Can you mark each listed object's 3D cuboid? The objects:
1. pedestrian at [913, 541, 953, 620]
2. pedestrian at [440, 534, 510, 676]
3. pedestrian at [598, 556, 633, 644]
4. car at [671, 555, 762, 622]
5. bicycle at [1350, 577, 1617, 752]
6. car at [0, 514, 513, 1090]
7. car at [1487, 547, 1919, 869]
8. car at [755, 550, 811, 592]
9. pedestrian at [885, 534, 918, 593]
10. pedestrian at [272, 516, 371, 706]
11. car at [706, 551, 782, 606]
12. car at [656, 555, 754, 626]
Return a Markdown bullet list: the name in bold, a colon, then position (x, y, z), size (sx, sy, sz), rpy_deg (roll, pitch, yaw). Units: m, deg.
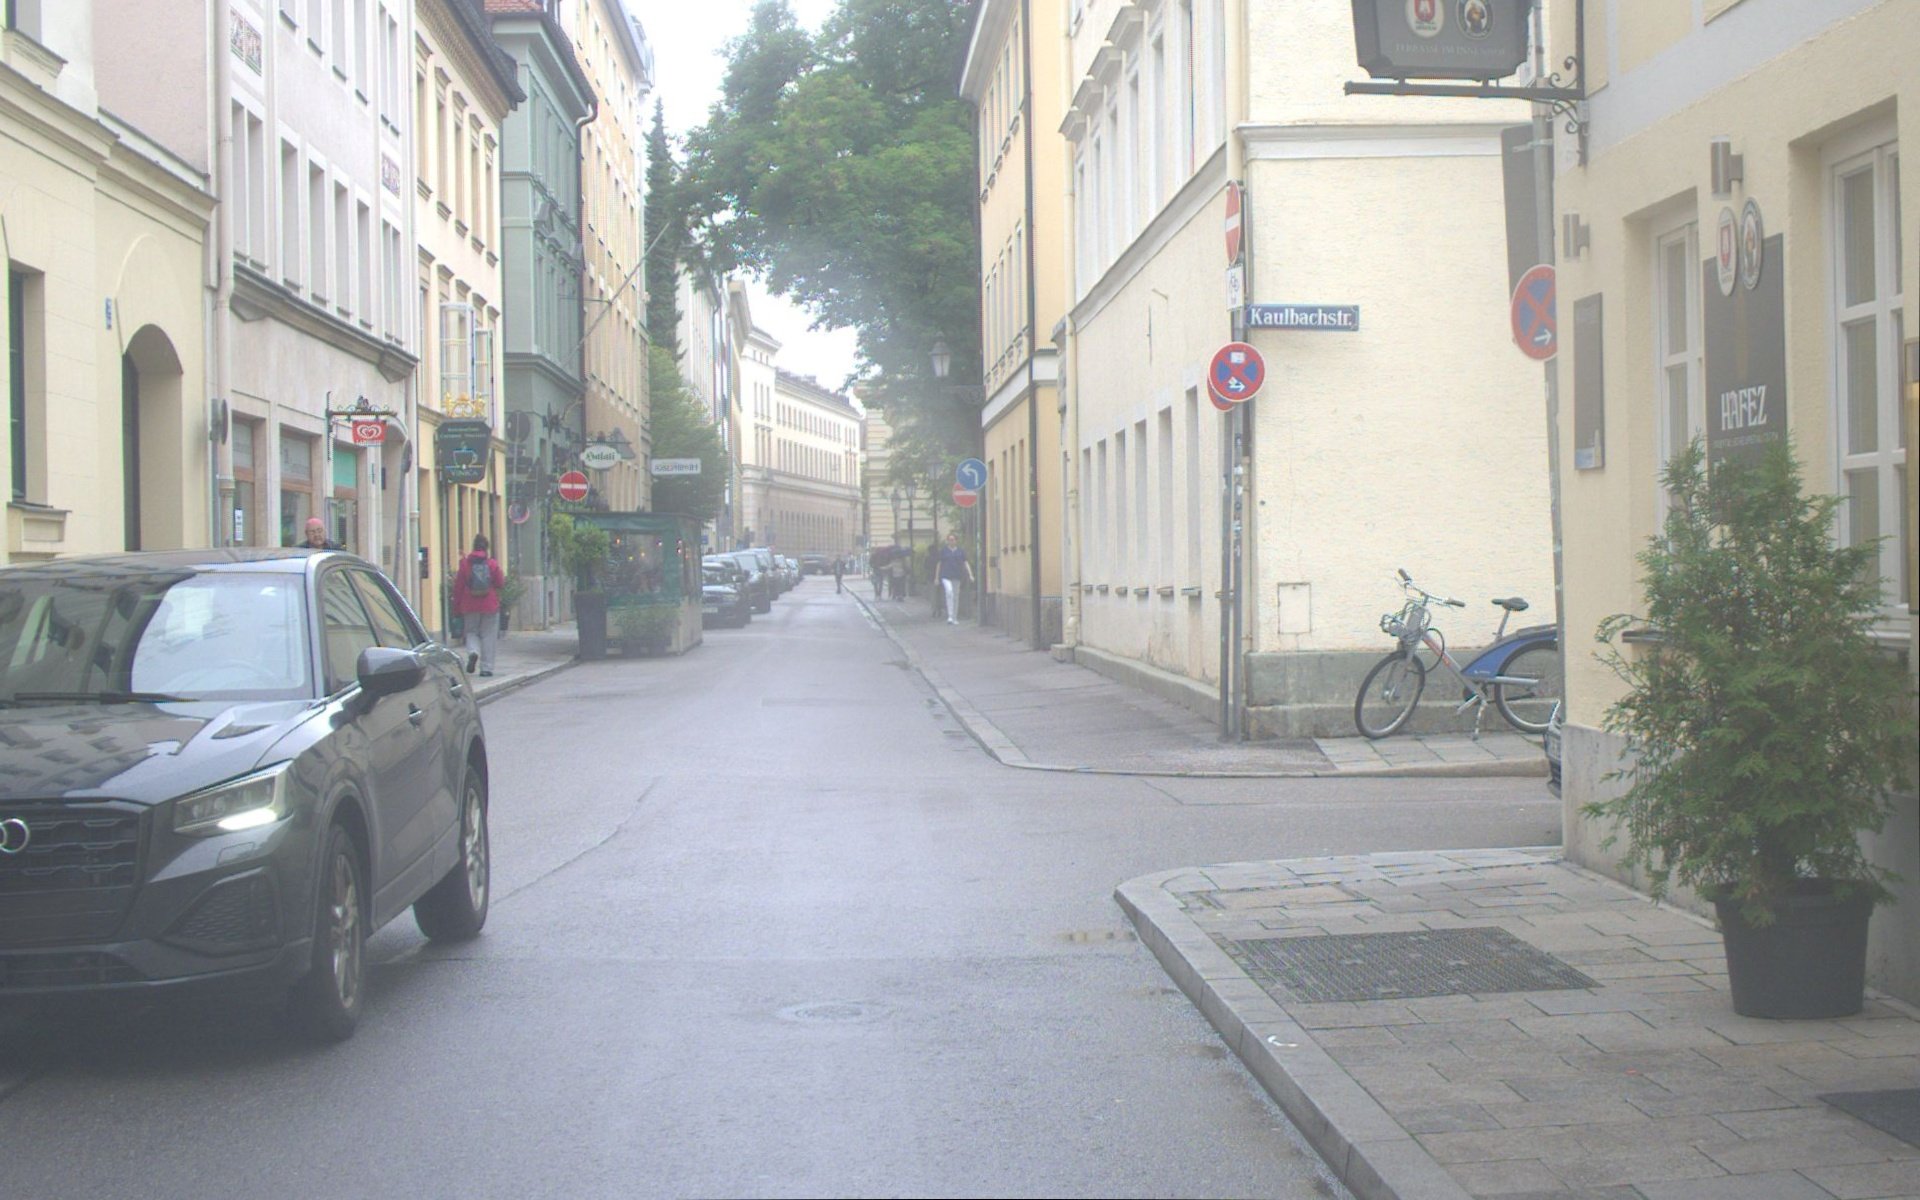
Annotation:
- **pedestrian**: position (-0.626, -0.443, 78.672), size (0.880, 1.796, 1.046), rpy_deg (0, 1, -1)
- **pedestrian**: position (-5.920, 0.055, 42.004), size (0.765, 1.702, 0.785), rpy_deg (-1, 1, -4)
- **pedestrian**: position (-5.224, -0.010, 52.159), size (0.509, 1.322, 0.631), rpy_deg (0, 1, -4)
- **car**: position (-5.522, -0.280, 78.350), size (1.779, 1.461, 3.542), rpy_deg (0, 1, 1)
- **bicycle**: position (3.649, 0.446, 24.037), size (1.757, 1.140, 0.586), rpy_deg (-1, 3, -2)
- **car**: position (-2.713, 0.531, 11.521), size (1.812, 1.588, 4.000), rpy_deg (0, 1, 1)
- **car**: position (4.747, 0.494, 16.923), size (4.015, 1.436, 1.765), rpy_deg (0, 3, 0)
- **car**: position (-6.321, -1.048, 123.031), size (1.779, 1.461, 3.542), rpy_deg (0, 1, 1)
- **pedestrian**: position (-1.806, -1.137, 106.252), size (1.015, 1.796, 1.349), rpy_deg (0, 1, -1)
- **pedestrian**: position (-6.017, 0.092, 32.444), size (0.809, 1.749, 0.990), rpy_deg (0, 2, -4)
- **car**: position (-5.842, -0.605, 93.303), size (1.779, 1.461, 3.542), rpy_deg (0, 1, 1)
- **car**: position (-5.427, -0.224, 73.507), size (1.779, 1.461, 3.663), rpy_deg (0, 1, 1)
